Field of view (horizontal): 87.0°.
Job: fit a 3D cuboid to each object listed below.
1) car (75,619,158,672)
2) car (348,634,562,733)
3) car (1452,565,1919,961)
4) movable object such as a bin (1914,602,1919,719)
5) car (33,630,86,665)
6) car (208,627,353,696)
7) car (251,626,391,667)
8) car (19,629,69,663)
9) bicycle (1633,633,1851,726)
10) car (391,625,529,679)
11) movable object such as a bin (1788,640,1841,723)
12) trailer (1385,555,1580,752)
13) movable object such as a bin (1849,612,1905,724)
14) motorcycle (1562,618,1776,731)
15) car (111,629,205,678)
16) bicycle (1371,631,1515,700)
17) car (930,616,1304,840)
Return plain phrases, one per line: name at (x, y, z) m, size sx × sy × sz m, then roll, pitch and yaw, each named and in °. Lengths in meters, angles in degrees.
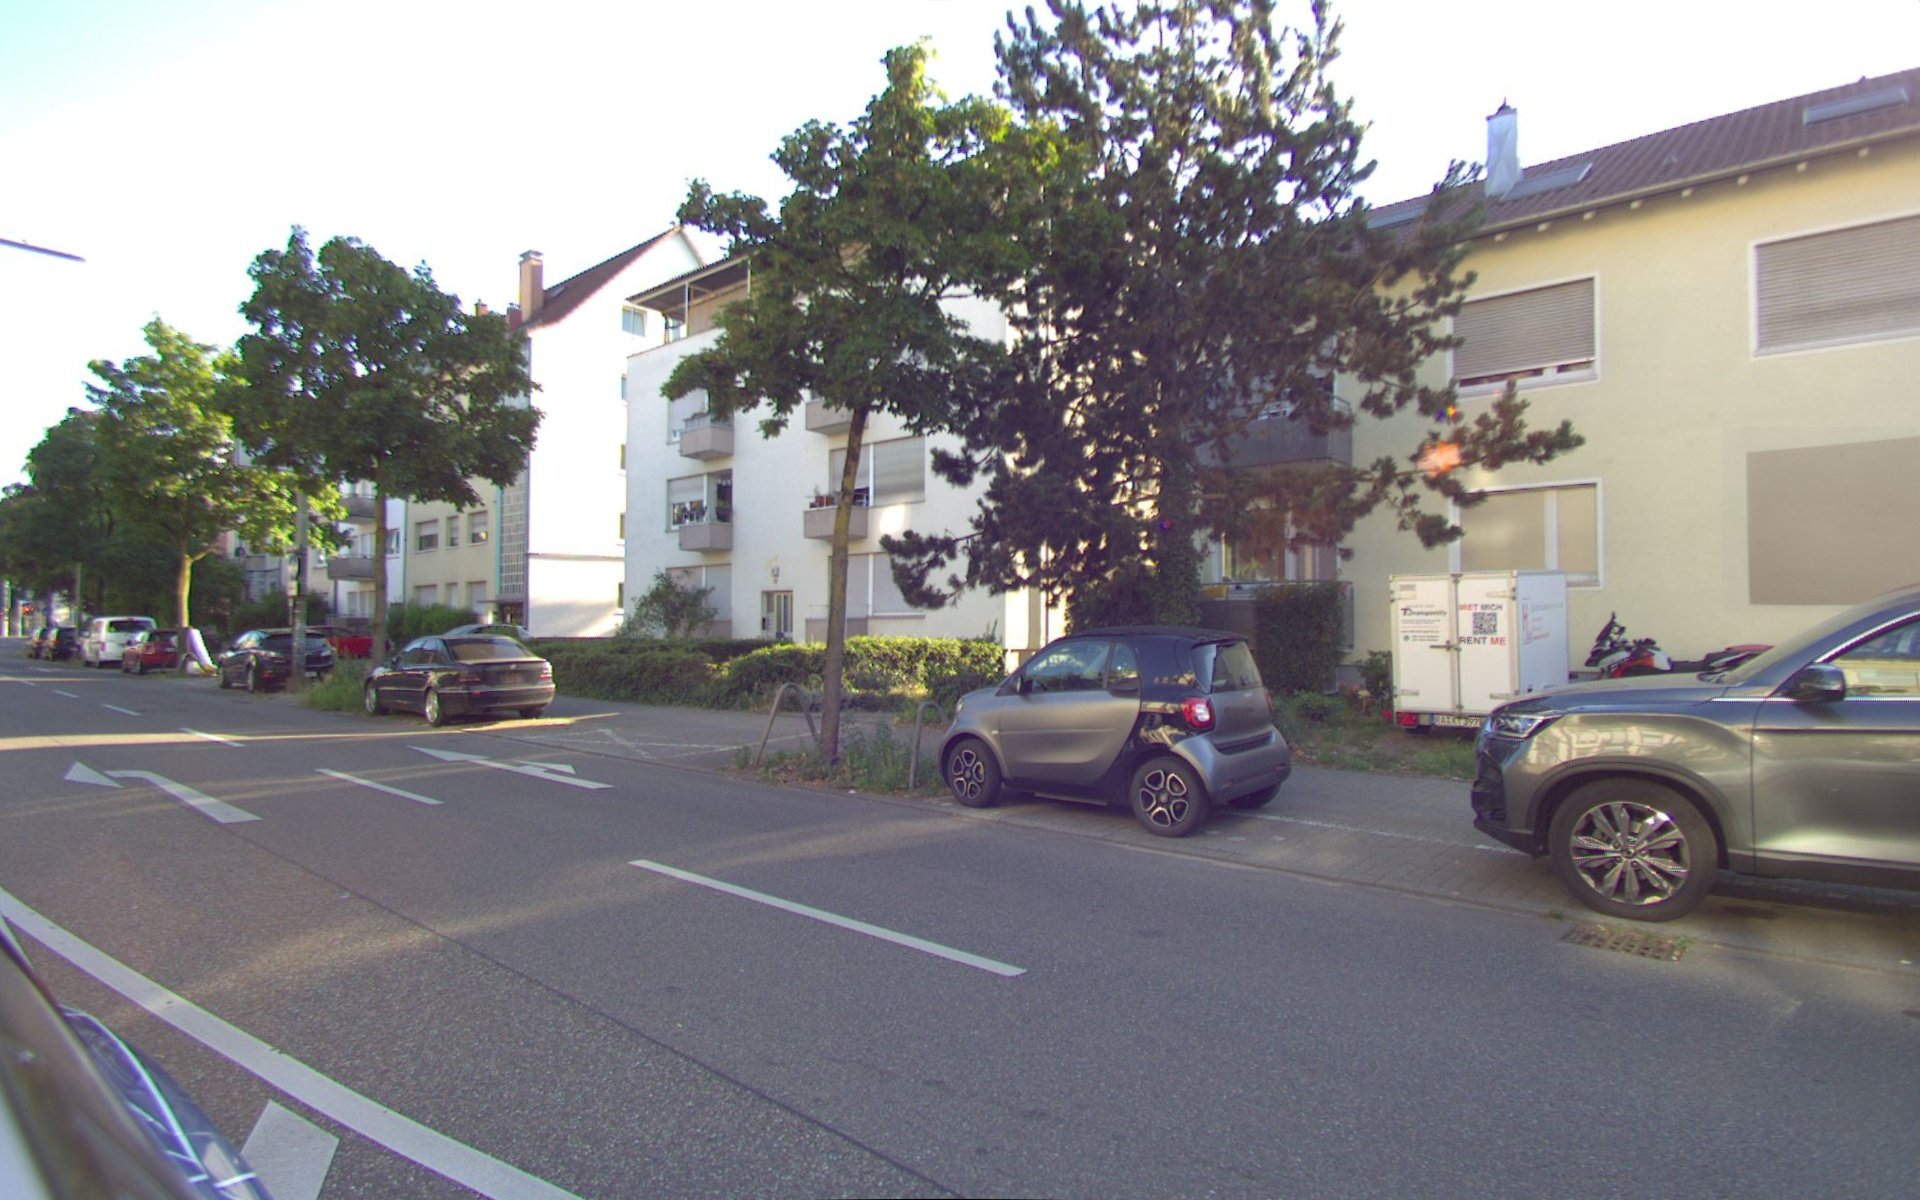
car at (-31.045, 1.644, 37.211) m, size 4.190 × 1.823 × 1.717 m, roll -1°, pitch -2°, yaw 41°
car at (-8.512, 1.290, 16.887) m, size 4.441 × 1.418 × 1.620 m, roll -1°, pitch -2°, yaw 41°
car at (5.258, 0.750, 5.057) m, size 4.722 × 1.793 × 1.868 m, roll -1°, pitch -2°, yaw 40°
movable object such as a bin at (11.973, 0.734, 12.309) m, size 0.486 × 1.412 × 0.475 m, roll -2°, pitch -3°, yaw 42°
car at (-39.550, 2.042, 44.415) m, size 3.682 × 1.416 × 1.388 m, roll -1°, pitch 0°, yaw 43°
car at (-16.279, 1.417, 24.195) m, size 3.997 × 1.497 × 1.838 m, roll -2°, pitch -3°, yaw 40°
car at (-25.692, 1.828, 40.859) m, size 1.735 × 1.416 × 4.516 m, roll -1°, pitch 0°, yaw 31°
car at (-42.668, 2.103, 47.124) m, size 3.682 × 1.475 × 1.388 m, roll -1°, pitch 0°, yaw 43°
bicycle at (10.433, 1.023, 13.585) m, size 2.257 × 1.149 × 0.564 m, roll -1°, pitch -2°, yaw 41°
car at (-15.335, 1.566, 31.143) m, size 1.686 × 1.535 × 3.422 m, roll -2°, pitch -3°, yaw 42°
movable object such as a bin at (11.065, 1.045, 13.102) m, size 0.486 × 1.039 × 0.475 m, roll -2°, pitch -3°, yaw 42°
trailer at (6.274, 0.603, 12.048) m, size 1.551 × 2.029 × 2.746 m, roll -1°, pitch -3°, yaw 39°
movable object such as a bin at (11.520, 0.836, 12.722) m, size 0.486 × 1.369 × 0.475 m, roll -2°, pitch -3°, yaw 42°
motorcycle at (9.321, 0.941, 13.383) m, size 2.257 × 1.384 × 0.564 m, roll -1°, pitch -3°, yaw 41°
car at (-25.854, 1.676, 32.600) m, size 3.634 × 1.475 × 1.717 m, roll -1°, pitch -2°, yaw 41°
bicycle at (7.820, 1.034, 16.462) m, size 2.045 × 1.072 × 0.513 m, roll -1°, pitch -2°, yaw 41°
car at (1.276, 0.941, 8.595) m, size 2.747 × 1.567 × 1.557 m, roll -1°, pitch -2°, yaw 40°
